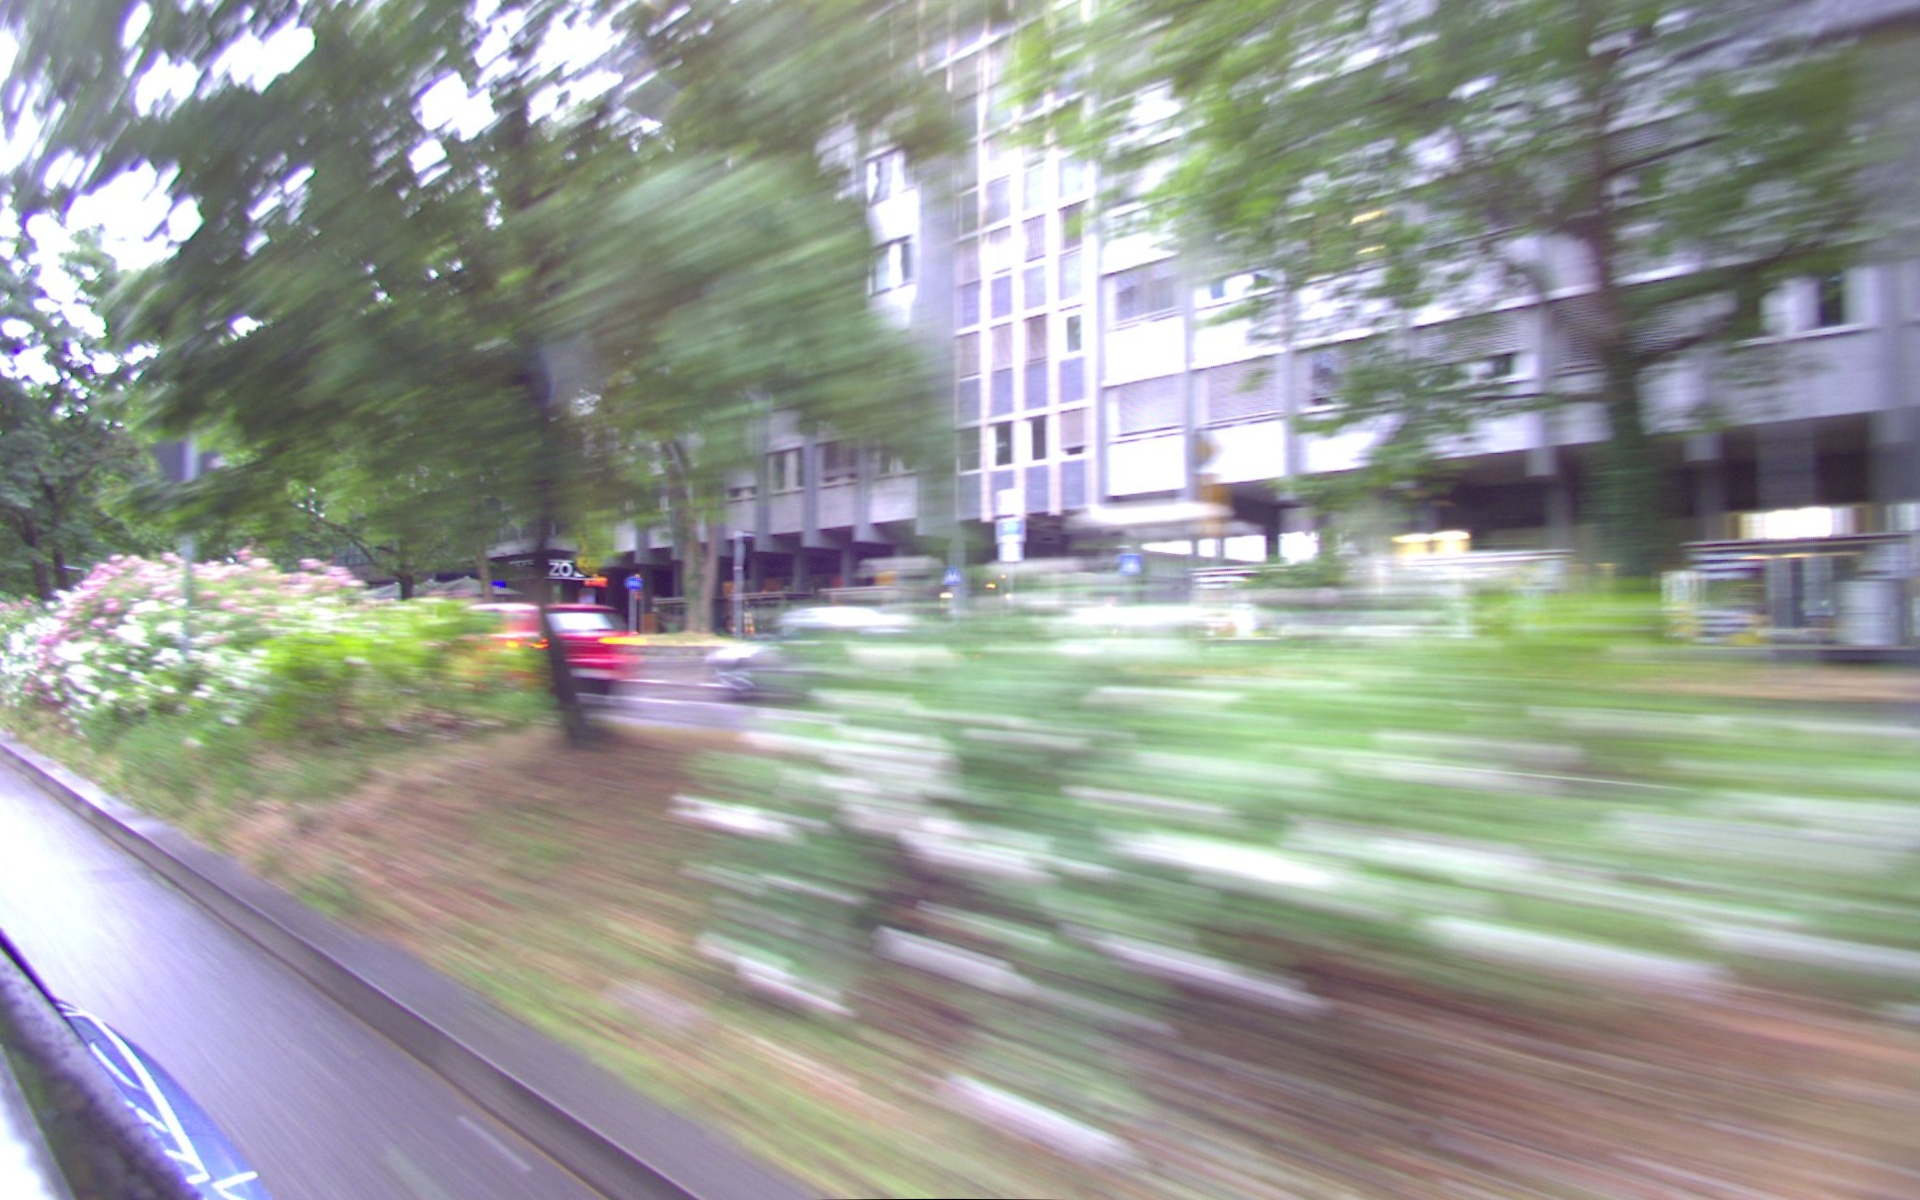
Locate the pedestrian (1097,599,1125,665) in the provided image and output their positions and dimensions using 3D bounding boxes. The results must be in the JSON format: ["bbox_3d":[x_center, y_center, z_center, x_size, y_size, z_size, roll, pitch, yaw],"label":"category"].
[{"bbox_3d":[4.181,0.879,28.023,0.522,1.821,0.542,-2,-1,41],"label":"pedestrian"}]

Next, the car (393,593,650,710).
[{"bbox_3d":[-6.362,0.720,14.471,4.188,1.439,1.709,-1,-4,41],"label":"car"}]

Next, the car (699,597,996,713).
[{"bbox_3d":[-1.752,0.769,14.711,4.495,1.439,1.709,-1,-4,41],"label":"car"}]

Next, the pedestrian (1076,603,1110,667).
[{"bbox_3d":[3.592,0.936,27.359,0.685,1.721,0.558,-2,-1,41],"label":"pedestrian"}]
